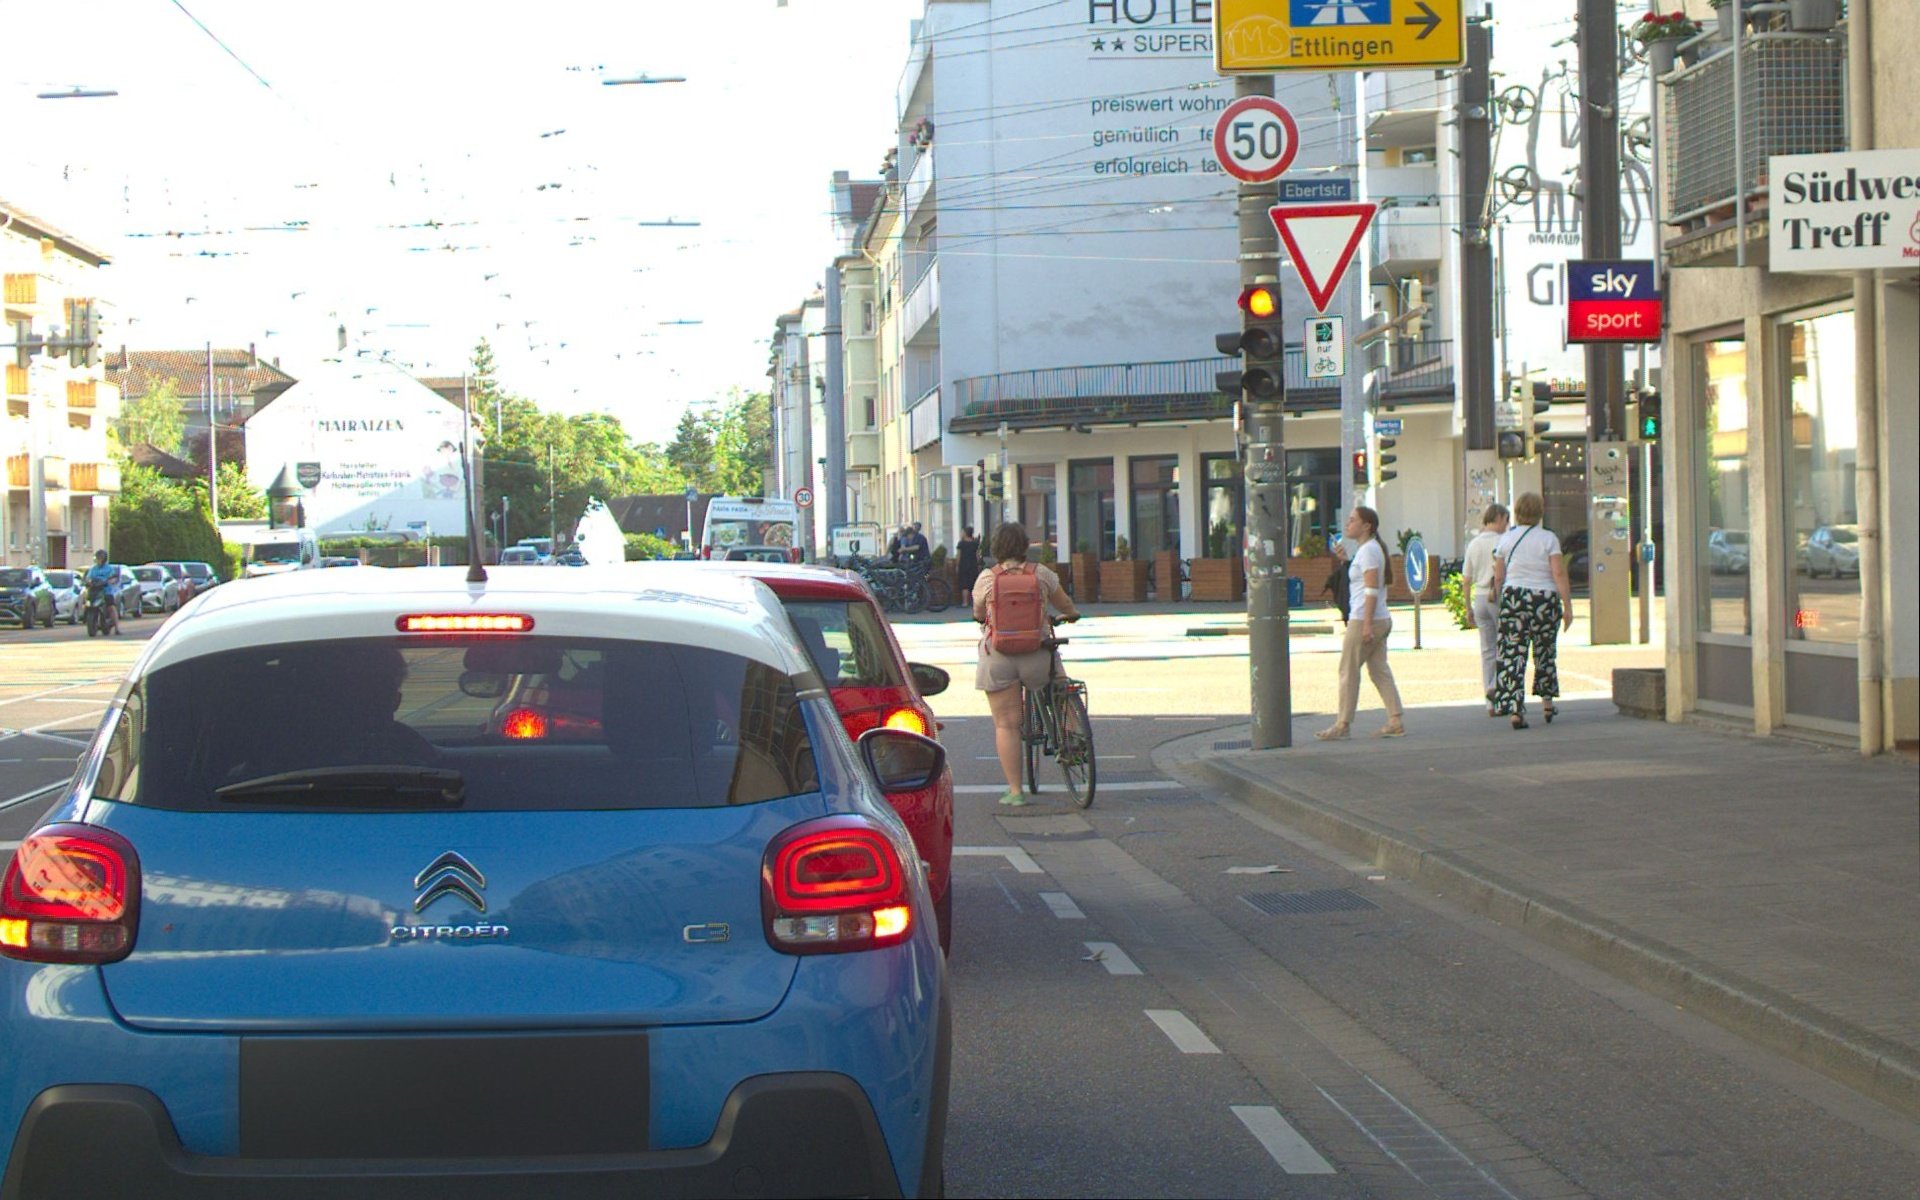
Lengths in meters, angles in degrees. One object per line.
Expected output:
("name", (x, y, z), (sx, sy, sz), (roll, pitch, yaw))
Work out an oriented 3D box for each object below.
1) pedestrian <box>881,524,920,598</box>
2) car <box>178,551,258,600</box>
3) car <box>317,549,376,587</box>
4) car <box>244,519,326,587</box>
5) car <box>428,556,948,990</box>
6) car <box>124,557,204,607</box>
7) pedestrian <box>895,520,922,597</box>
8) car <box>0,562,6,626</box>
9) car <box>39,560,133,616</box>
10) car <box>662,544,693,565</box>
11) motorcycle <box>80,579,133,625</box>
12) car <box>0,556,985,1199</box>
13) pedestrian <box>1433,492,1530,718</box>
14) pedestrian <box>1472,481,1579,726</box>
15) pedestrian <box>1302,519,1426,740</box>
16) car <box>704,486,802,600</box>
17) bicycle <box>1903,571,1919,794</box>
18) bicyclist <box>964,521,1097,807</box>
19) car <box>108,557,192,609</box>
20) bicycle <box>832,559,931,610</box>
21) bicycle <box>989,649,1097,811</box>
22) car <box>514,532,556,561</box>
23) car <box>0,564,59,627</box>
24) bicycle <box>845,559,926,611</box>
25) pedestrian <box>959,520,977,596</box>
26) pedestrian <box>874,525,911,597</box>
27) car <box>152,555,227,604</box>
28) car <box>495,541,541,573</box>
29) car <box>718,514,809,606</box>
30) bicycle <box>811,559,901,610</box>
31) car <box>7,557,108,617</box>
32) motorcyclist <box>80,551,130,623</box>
("pedestrian", (-1.257, -0.822, 72.722), (0.646, 1.550, 0.493), (-2, 1, -22))
("car", (-26.208, -0.878, 121.600), (2.030, 1.614, 4.511), (-1, 1, -3))
("car", (-25.778, -1.354, 144.499), (2.021, 1.520, 4.001), (-1, 1, -4))
("car", (-23.385, -1.645, 119.312), (2.206, 2.243, 4.678), (-1, 1, -4))
("car", (-0.943, 0.561, 13.655), (1.738, 1.415, 4.000), (-1, 1, -1))
("car", (-25.706, -0.598, 111.084), (1.910, 1.492, 4.001), (-1, 1, -5))
("pedestrian", (-1.049, -0.847, 69.947), (0.491, 1.550, 0.384), (-1, 1, -3))
("car", (-23.351, -0.099, 79.190), (1.910, 1.492, 4.001), (-1, 1, -5))
("car", (-24.807, -0.362, 97.681), (1.910, 1.492, 4.001), (-1, 1, -5))
("car", (-17.814, -2.860, 216.593), (1.754, 1.255, 3.833), (-1, 1, -7))
("motorcycle", (-16.697, 0.029, 67.293), (0.615, 0.861, 1.671), (-1, 1, 0))
("car", (-1.055, 0.645, 7.432), (1.743, 1.457, 4.001), (0, 1, -7))
("pedestrian", (3.965, 0.027, 26.163), (0.541, 1.666, 0.624), (-3, 3, -2))
("pedestrian", (3.953, 0.018, 24.061), (0.541, 1.666, 0.650), (-3, 1, -2))
("pedestrian", (2.847, 0.199, 24.233), (0.541, 1.502, 0.611), (-4, 3, -29))
("car", (-4.366, -1.194, 72.441), (1.993, 2.317, 4.001), (0, 1, -4))
("bicycle", (4.914, 0.405, 15.798), (0.530, 1.068, 1.811), (-1, 1, -4))
("bicyclist", (0.410, 0.362, 20.300), (0.726, 1.640, 0.790), (-1, 1, -1))
("car", (-24.982, -0.539, 106.085), (1.910, 1.492, 4.001), (-1, 1, -5))
("bicycle", (-1.524, -0.302, 67.064), (1.874, 0.953, 0.702), (-1, 1, 1))
("bicycle", (0.483, 0.757, 20.559), (0.498, 0.861, 1.749), (-1, 1, -3))
("car", (-23.167, -2.946, 187.441), (2.021, 1.520, 4.001), (-1, 1, -4))
("car", (-23.877, -0.125, 85.973), (1.910, 1.492, 4.001), (-1, 1, -5))
("bicycle", (-1.421, -0.287, 66.004), (1.504, 0.953, 0.702), (-1, 1, 1))
("pedestrian", (0.161, -0.859, 70.153), (0.284, 1.550, 0.305), (-1, 1, -9))
("pedestrian", (-1.460, -0.843, 74.525), (0.646, 1.550, 0.493), (-2, 1, -22))
("car", (-26.014, -0.714, 116.175), (1.870, 1.568, 4.001), (-1, 1, -4))
("car", (-21.773, -2.120, 169.410), (2.021, 1.520, 4.001), (-1, 1, -4))
("car", (-3.874, -0.788, 67.531), (1.732, 1.744, 3.214), (0, 1, -4))
("bicycle", (-2.065, -0.314, 68.422), (1.720, 0.953, 0.702), (-1, 1, 1))
("car", (-24.145, -0.373, 92.108), (1.910, 1.492, 4.001), (-1, 1, -5))
("motorcyclist", (-16.691, -0.255, 67.133), (0.719, 1.373, 0.911), (-1, 1, 0))
